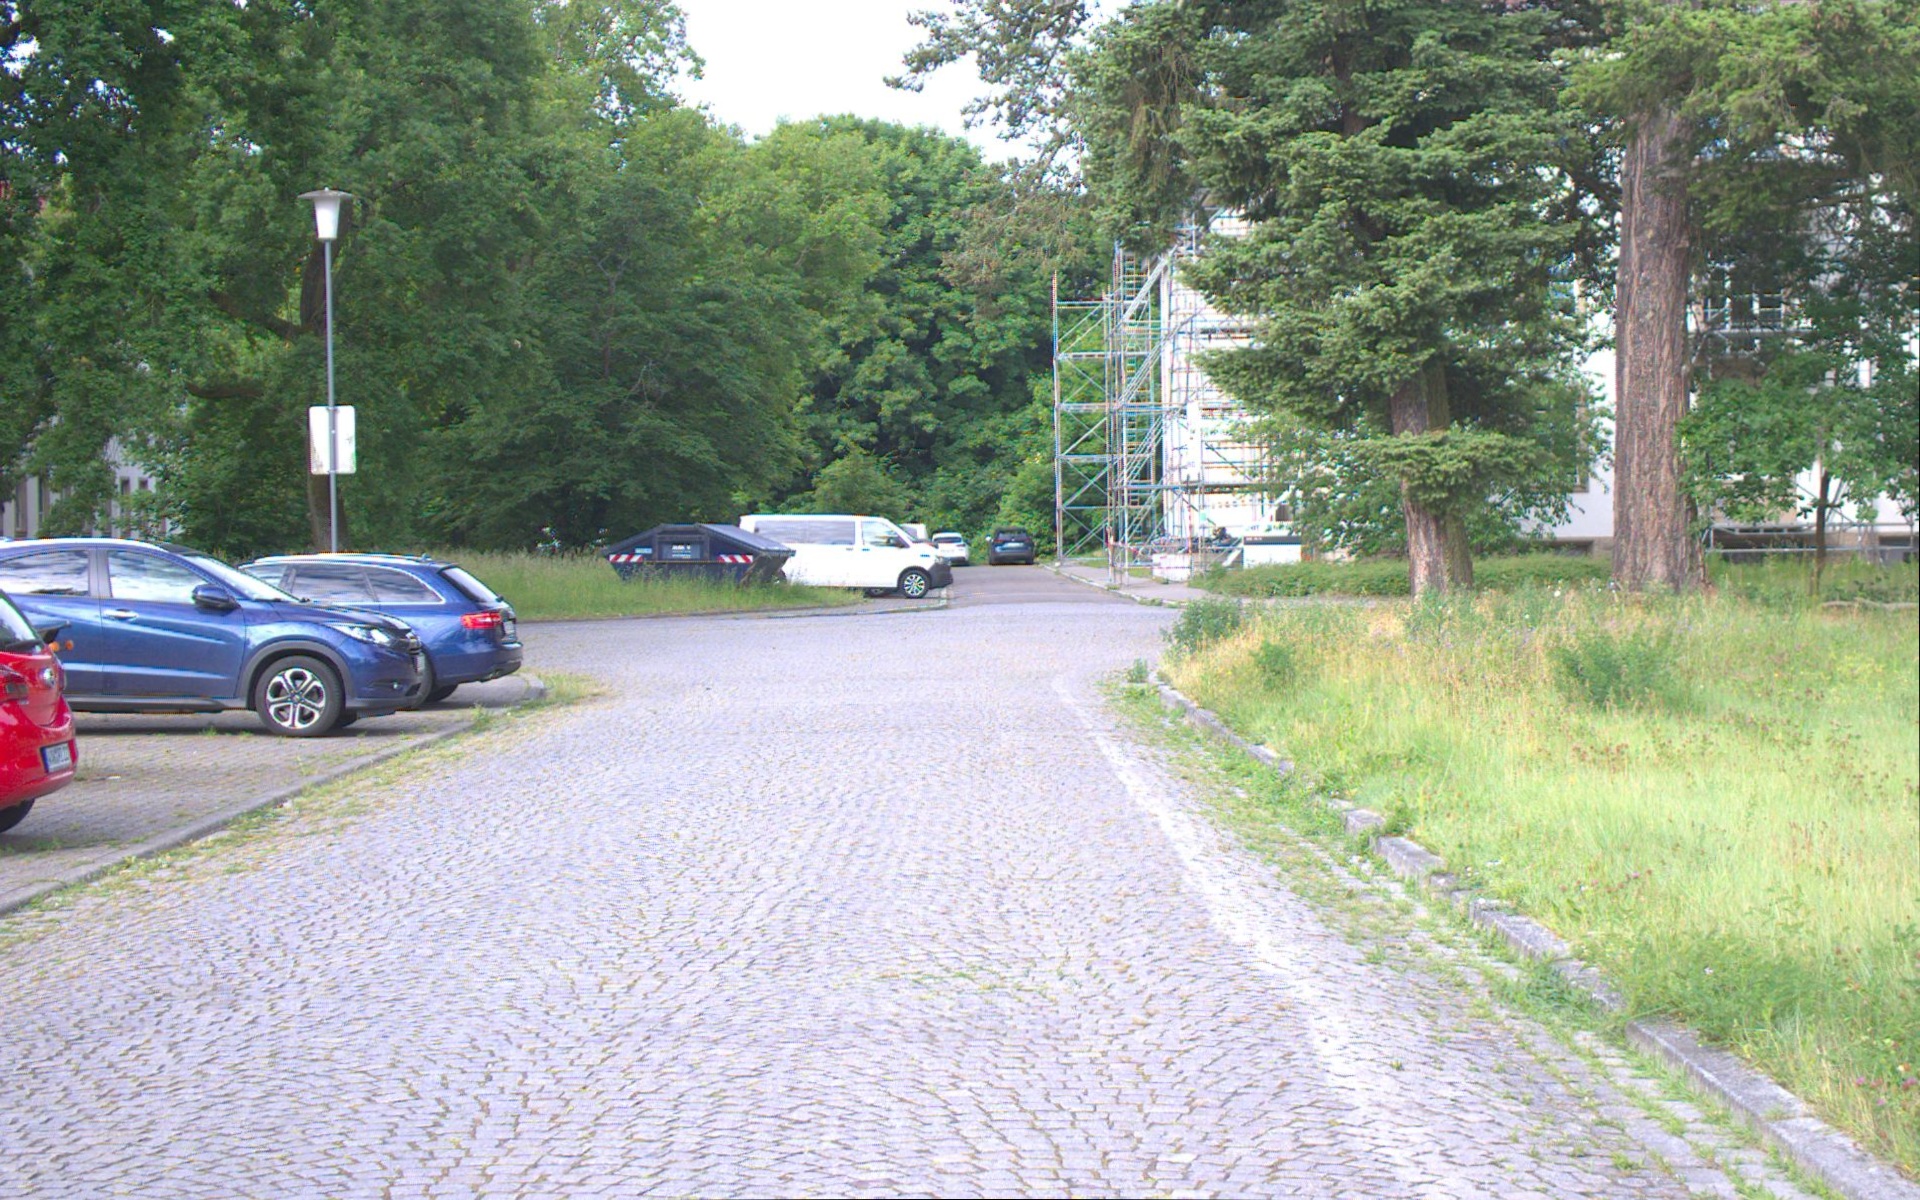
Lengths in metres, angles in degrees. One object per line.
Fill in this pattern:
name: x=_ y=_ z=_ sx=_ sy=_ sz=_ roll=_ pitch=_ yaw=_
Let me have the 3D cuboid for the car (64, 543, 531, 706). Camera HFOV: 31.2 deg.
car: x=-6.249 y=0.216 z=32.667 sx=4.072 sy=1.462 sz=1.626 roll=0 pitch=2 yaw=4

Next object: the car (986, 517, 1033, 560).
car: x=2.119 y=-2.629 z=147.960 sx=1.790 sy=1.714 sz=4.061 roll=-1 pitch=0 yaw=-2

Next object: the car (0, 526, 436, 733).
car: x=-6.428 y=0.216 z=27.969 sx=4.071 sy=1.598 sz=1.788 roll=-1 pitch=2 yaw=-1

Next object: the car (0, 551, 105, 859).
car: x=-6.538 y=0.519 z=17.722 sx=3.815 sy=1.484 sz=1.788 roll=-1 pitch=2 yaw=-1

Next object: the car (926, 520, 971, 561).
car: x=-0.503 y=-2.535 z=147.647 sx=1.790 sy=1.630 sz=4.061 roll=-1 pitch=0 yaw=-2

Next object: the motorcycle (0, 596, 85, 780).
motorcycle: x=-6.879 y=0.572 z=22.290 sx=2.226 sy=1.155 sz=0.647 roll=-1 pitch=1 yaw=3

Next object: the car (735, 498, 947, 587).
car: x=-2.814 y=-1.348 z=81.615 sx=4.978 sy=2.065 sz=2.052 roll=0 pitch=0 yaw=-1
